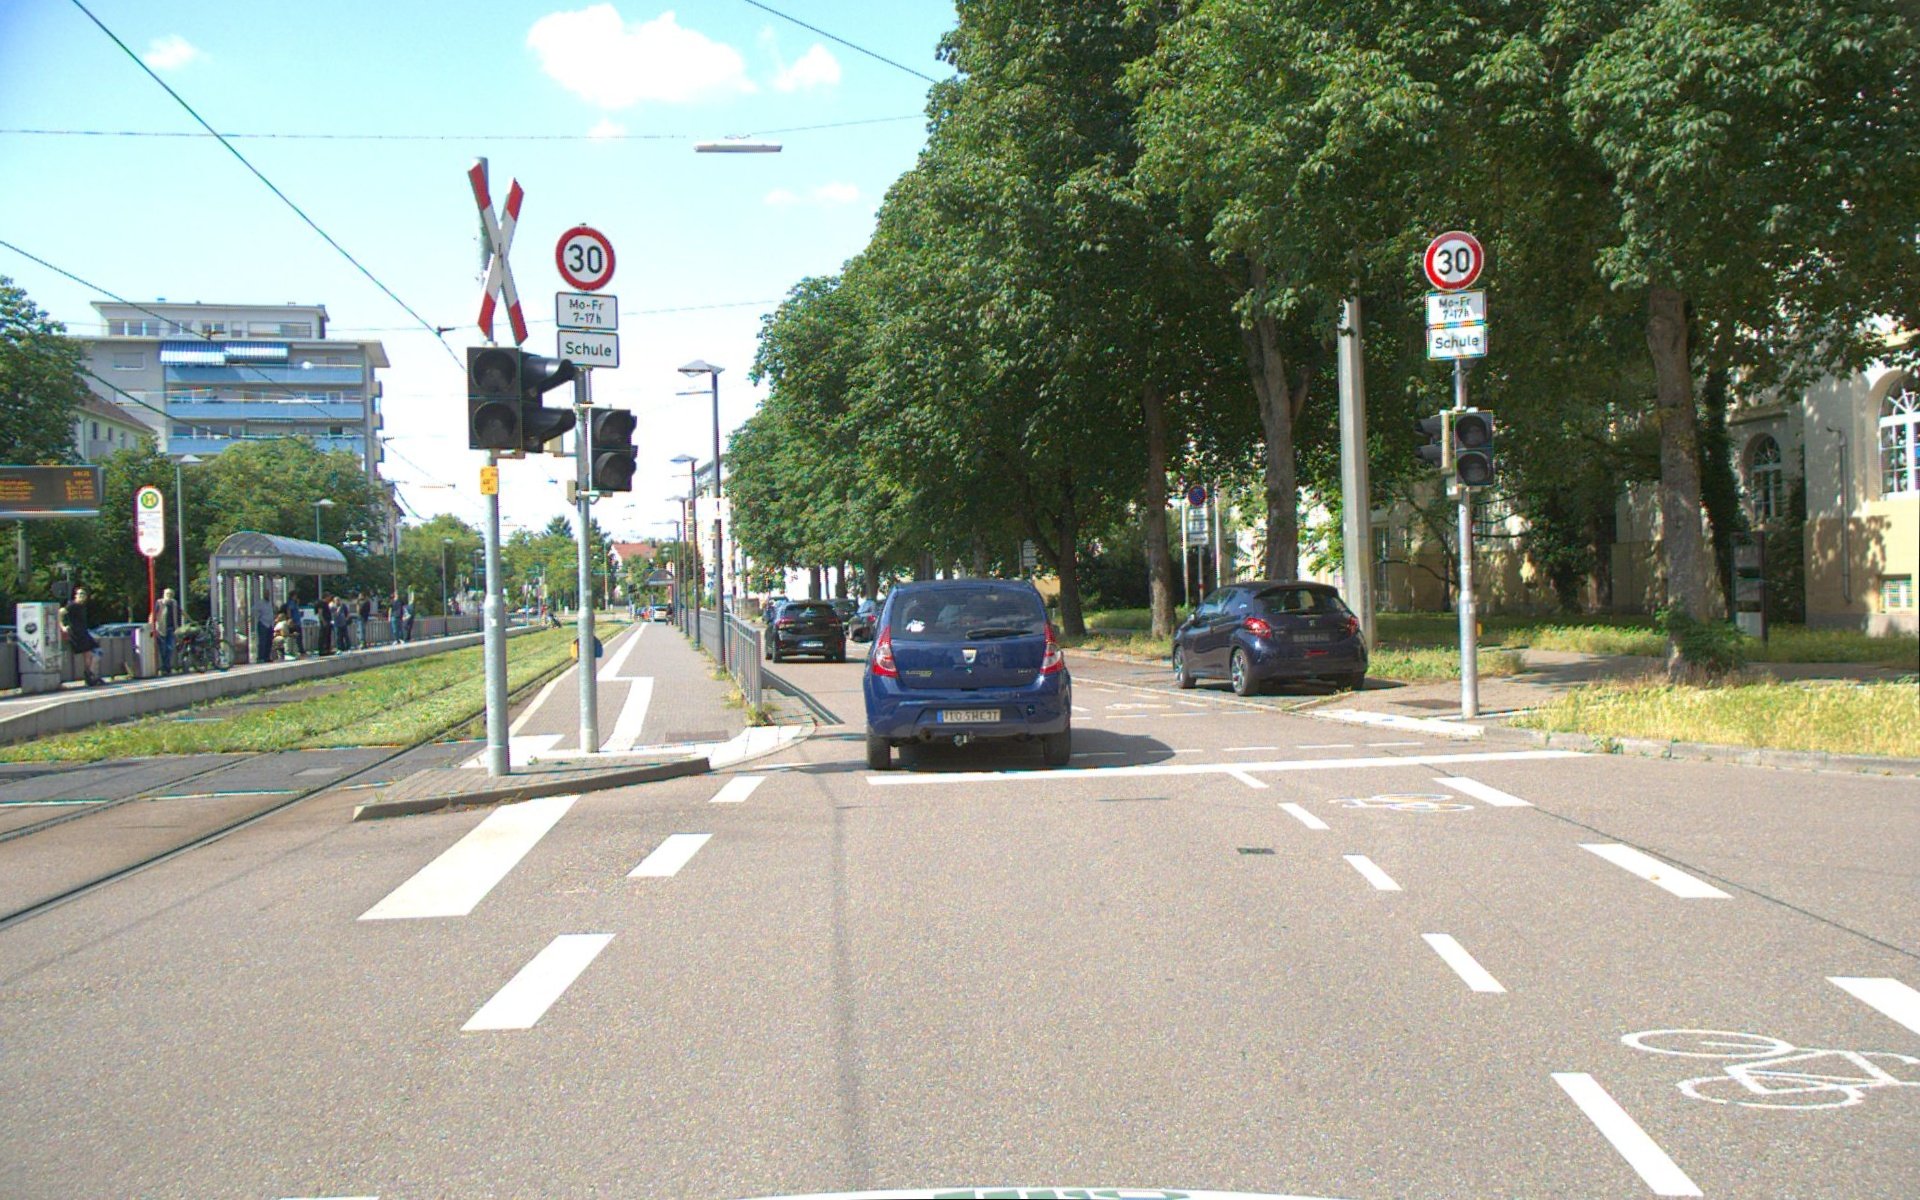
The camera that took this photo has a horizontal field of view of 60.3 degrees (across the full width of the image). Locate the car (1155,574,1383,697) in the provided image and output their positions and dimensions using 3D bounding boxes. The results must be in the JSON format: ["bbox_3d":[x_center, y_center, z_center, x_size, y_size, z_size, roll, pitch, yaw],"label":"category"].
[{"bbox_3d":[4.106,0.444,22.624,1.734,1.458,3.894,-3,0,-11],"label":"car"}]

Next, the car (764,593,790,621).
[{"bbox_3d":[-12.157,0.460,109.982,1.635,1.803,3.995,-2,0,-6],"label":"car"}]

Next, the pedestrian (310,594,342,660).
[{"bbox_3d":[-17.589,0.744,45.909,0.592,1.796,0.639,-2,0,-1],"label":"pedestrian"}]

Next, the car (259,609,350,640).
[{"bbox_3d":[-32.861,1.219,82.978,1.606,1.410,3.987,-2,0,35],"label":"car"}]

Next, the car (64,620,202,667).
[{"bbox_3d":[-29.030,1.506,58.139,1.683,1.391,3.981,-3,0,39],"label":"car"}]

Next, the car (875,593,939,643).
[{"bbox_3d":[-1.782,0.576,54.547,1.825,1.470,3.996,-4,0,-5],"label":"car"}]

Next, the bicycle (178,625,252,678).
[{"bbox_3d":[-15.447,1.055,34.337,0.672,0.991,1.771,-4,1,0],"label":"bicycle"}]

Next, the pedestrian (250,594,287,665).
[{"bbox_3d":[-17.033,0.719,40.759,0.643,1.722,0.655,-3,0,-9],"label":"pedestrian"}]

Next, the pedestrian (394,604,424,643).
[{"bbox_3d":[-21.888,0.925,65.720,1.016,1.462,0.698,-4,1,-25],"label":"pedestrian"}]

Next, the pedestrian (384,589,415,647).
[{"bbox_3d":[-20.156,0.645,59.469,0.788,2.049,0.660,-2,0,37],"label":"pedestrian"}]

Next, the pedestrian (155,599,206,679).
[{"bbox_3d":[-16.148,0.796,34.272,0.650,1.597,0.685,-3,0,-2],"label":"pedestrian"}]

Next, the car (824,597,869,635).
[{"bbox_3d":[-4.923,0.674,71.595,1.825,1.470,3.996,-3,0,-5],"label":"car"}]

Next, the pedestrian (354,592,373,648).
[{"bbox_3d":[-18.881,0.622,52.387,0.481,1.742,0.461,-3,0,-20],"label":"pedestrian"}]

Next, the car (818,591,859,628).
[{"bbox_3d":[-5.651,0.434,77.088,1.792,1.564,3.996,-3,0,-5],"label":"car"}]

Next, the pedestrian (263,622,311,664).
[{"bbox_3d":[-17.185,1.099,42.247,0.907,1.006,0.796,-3,-1,-8],"label":"pedestrian"}]

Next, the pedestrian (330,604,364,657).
[{"bbox_3d":[-17.286,0.866,46.634,0.641,1.450,0.562,-3,0,27],"label":"pedestrian"}]

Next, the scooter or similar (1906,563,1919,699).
[{"bbox_3d":[8.610,0.274,14.386,0.299,1.210,1.163,-2,0,13],"label":"scooter or similar"}]

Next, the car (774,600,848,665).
[{"bbox_3d":[-3.562,0.747,39.538,1.667,1.391,3.511,-1,1,-6],"label":"car"}]

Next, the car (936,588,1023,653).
[{"bbox_3d":[0.457,0.497,42.773,1.825,1.470,3.996,-4,0,-5],"label":"car"}]

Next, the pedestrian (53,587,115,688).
[{"bbox_3d":[-15.446,0.657,29.181,0.699,1.756,0.666,-2,0,32],"label":"pedestrian"}]

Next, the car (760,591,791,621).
[{"bbox_3d":[-11.564,0.343,103.904,1.794,1.792,3.996,-2,0,-5],"label":"car"}]

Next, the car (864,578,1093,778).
[{"bbox_3d":[0.108,0.591,14.623,1.732,1.487,3.774,-1,0,-1],"label":"car"}]

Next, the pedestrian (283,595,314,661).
[{"bbox_3d":[-17.898,0.749,44.763,0.582,1.766,0.556,-3,0,-5],"label":"pedestrian"}]

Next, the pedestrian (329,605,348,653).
[{"bbox_3d":[-19.689,0.925,52.394,0.481,1.477,0.461,-3,0,-20],"label":"pedestrian"}]

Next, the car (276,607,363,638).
[{"bbox_3d":[-34.085,1.204,88.087,3.971,1.472,1.700,-2,0,-45],"label":"car"}]

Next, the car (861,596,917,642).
[{"bbox_3d":[-2.585,0.647,59.277,1.815,1.542,3.996,-2,0,-5],"label":"car"}]
